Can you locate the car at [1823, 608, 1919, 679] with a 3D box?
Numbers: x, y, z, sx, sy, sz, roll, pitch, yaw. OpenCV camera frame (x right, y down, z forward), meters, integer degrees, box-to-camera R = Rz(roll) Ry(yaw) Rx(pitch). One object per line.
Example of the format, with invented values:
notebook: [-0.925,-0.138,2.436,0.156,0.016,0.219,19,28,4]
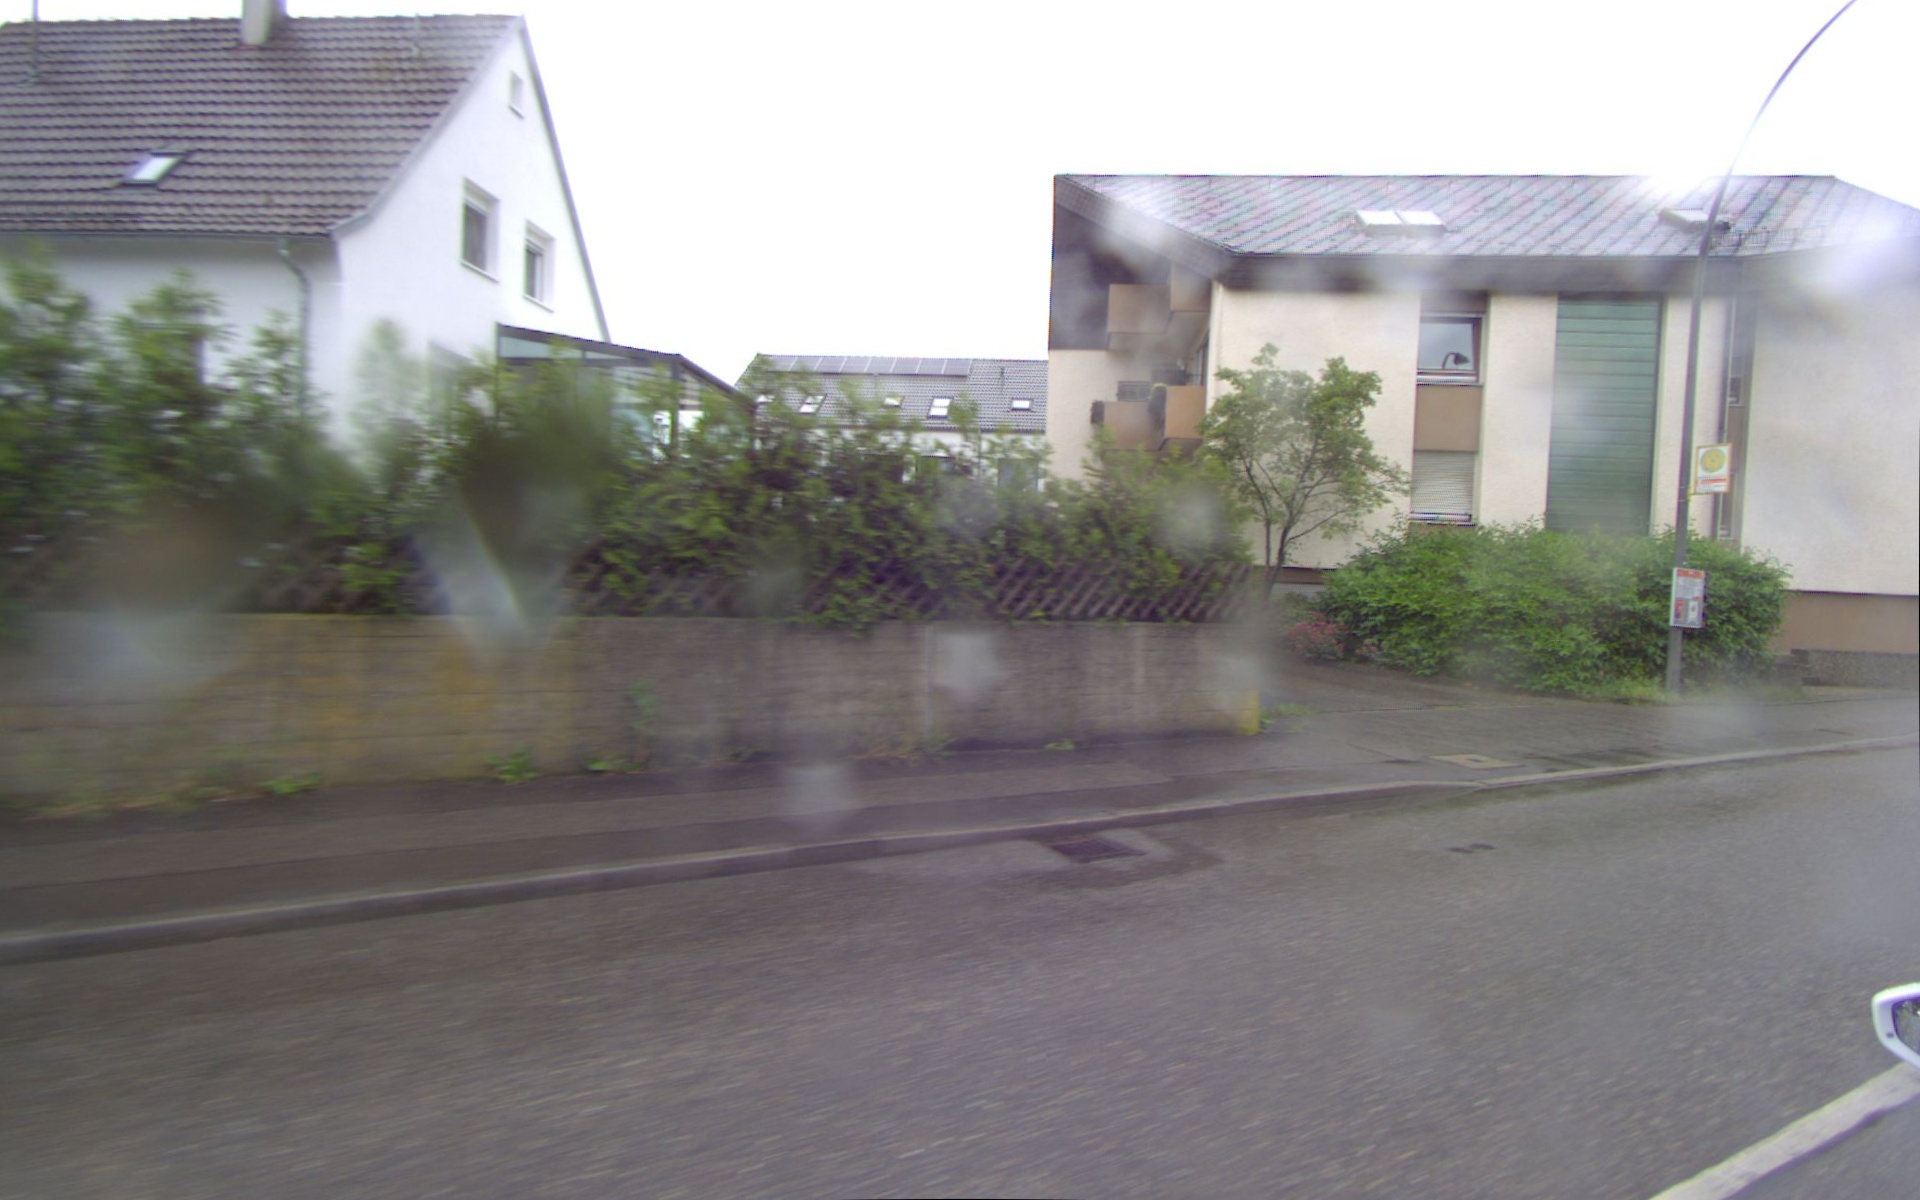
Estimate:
car: [23.322,1.039,23.272,4.783,1.497,1.907,2,2,5]
